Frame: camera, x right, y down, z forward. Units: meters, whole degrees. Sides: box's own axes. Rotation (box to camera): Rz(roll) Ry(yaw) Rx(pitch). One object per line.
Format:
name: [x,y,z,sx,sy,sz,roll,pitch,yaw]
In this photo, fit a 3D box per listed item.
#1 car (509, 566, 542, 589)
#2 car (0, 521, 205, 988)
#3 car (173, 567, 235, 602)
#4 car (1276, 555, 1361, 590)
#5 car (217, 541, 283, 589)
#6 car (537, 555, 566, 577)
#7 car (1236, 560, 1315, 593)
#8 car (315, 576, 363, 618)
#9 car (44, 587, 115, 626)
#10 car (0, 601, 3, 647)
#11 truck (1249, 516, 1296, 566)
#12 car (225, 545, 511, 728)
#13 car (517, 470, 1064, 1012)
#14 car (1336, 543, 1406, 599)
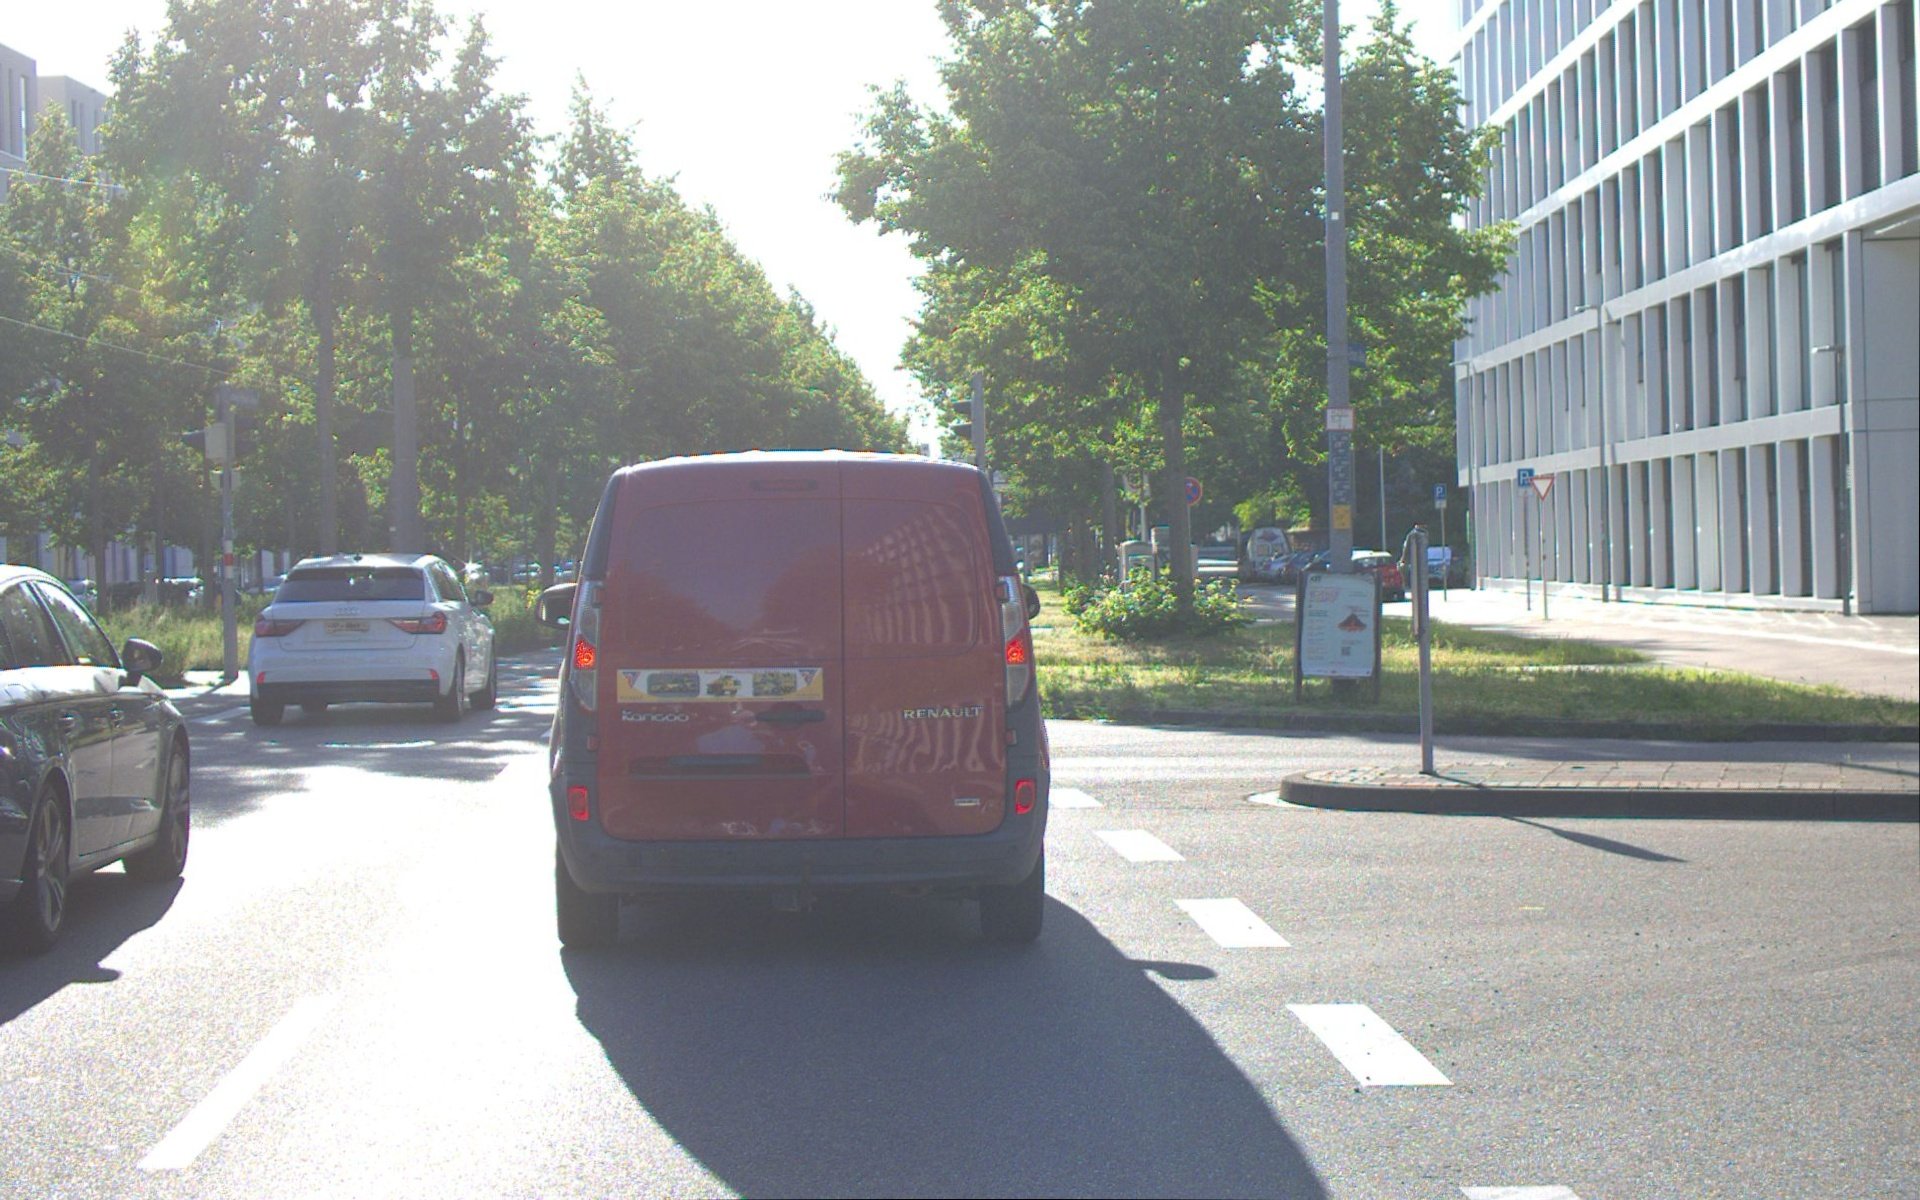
car: [-30.565,-1.609,241.952,1.755,1.568,4.000,-1,1,1]
car: [-4.142,0.492,13.194,1.808,1.522,4.113,-1,1,-4]
car: [-30.535,-0.635,138.936,1.580,1.337,3.712,-1,1,1]
car: [14.768,-1.143,141.473,3.400,1.354,1.470,-1,1,8]
car: [-30.353,-1.520,147.030,1.993,2.007,4.000,-1,1,-1]
car: [-30.323,-2.533,255.456,1.602,1.551,4.000,-1,1,1]
car: [14.094,-1.056,153.384,3.400,1.354,1.470,-1,1,8]
car: [-31.579,-0.150,174.839,1.728,2.007,4.000,-1,1,-1]
car: [-32.192,0.222,125.720,1.580,1.337,3.712,-1,1,1]
car: [-32.752,0.848,112.460,1.776,1.523,3.806,-1,1,1]
truck: [15.756,-2.955,173.522,1.832,2.492,5.932,-1,0,1]
car: [-5.040,0.261,29.772,1.808,1.430,4.113,-1,1,-1]
car: [-0.660,0.440,13.679,1.808,1.788,4.113,-1,1,-2]
car: [12.241,-0.890,102.620,1.758,1.606,3.903,-1,1,3]
